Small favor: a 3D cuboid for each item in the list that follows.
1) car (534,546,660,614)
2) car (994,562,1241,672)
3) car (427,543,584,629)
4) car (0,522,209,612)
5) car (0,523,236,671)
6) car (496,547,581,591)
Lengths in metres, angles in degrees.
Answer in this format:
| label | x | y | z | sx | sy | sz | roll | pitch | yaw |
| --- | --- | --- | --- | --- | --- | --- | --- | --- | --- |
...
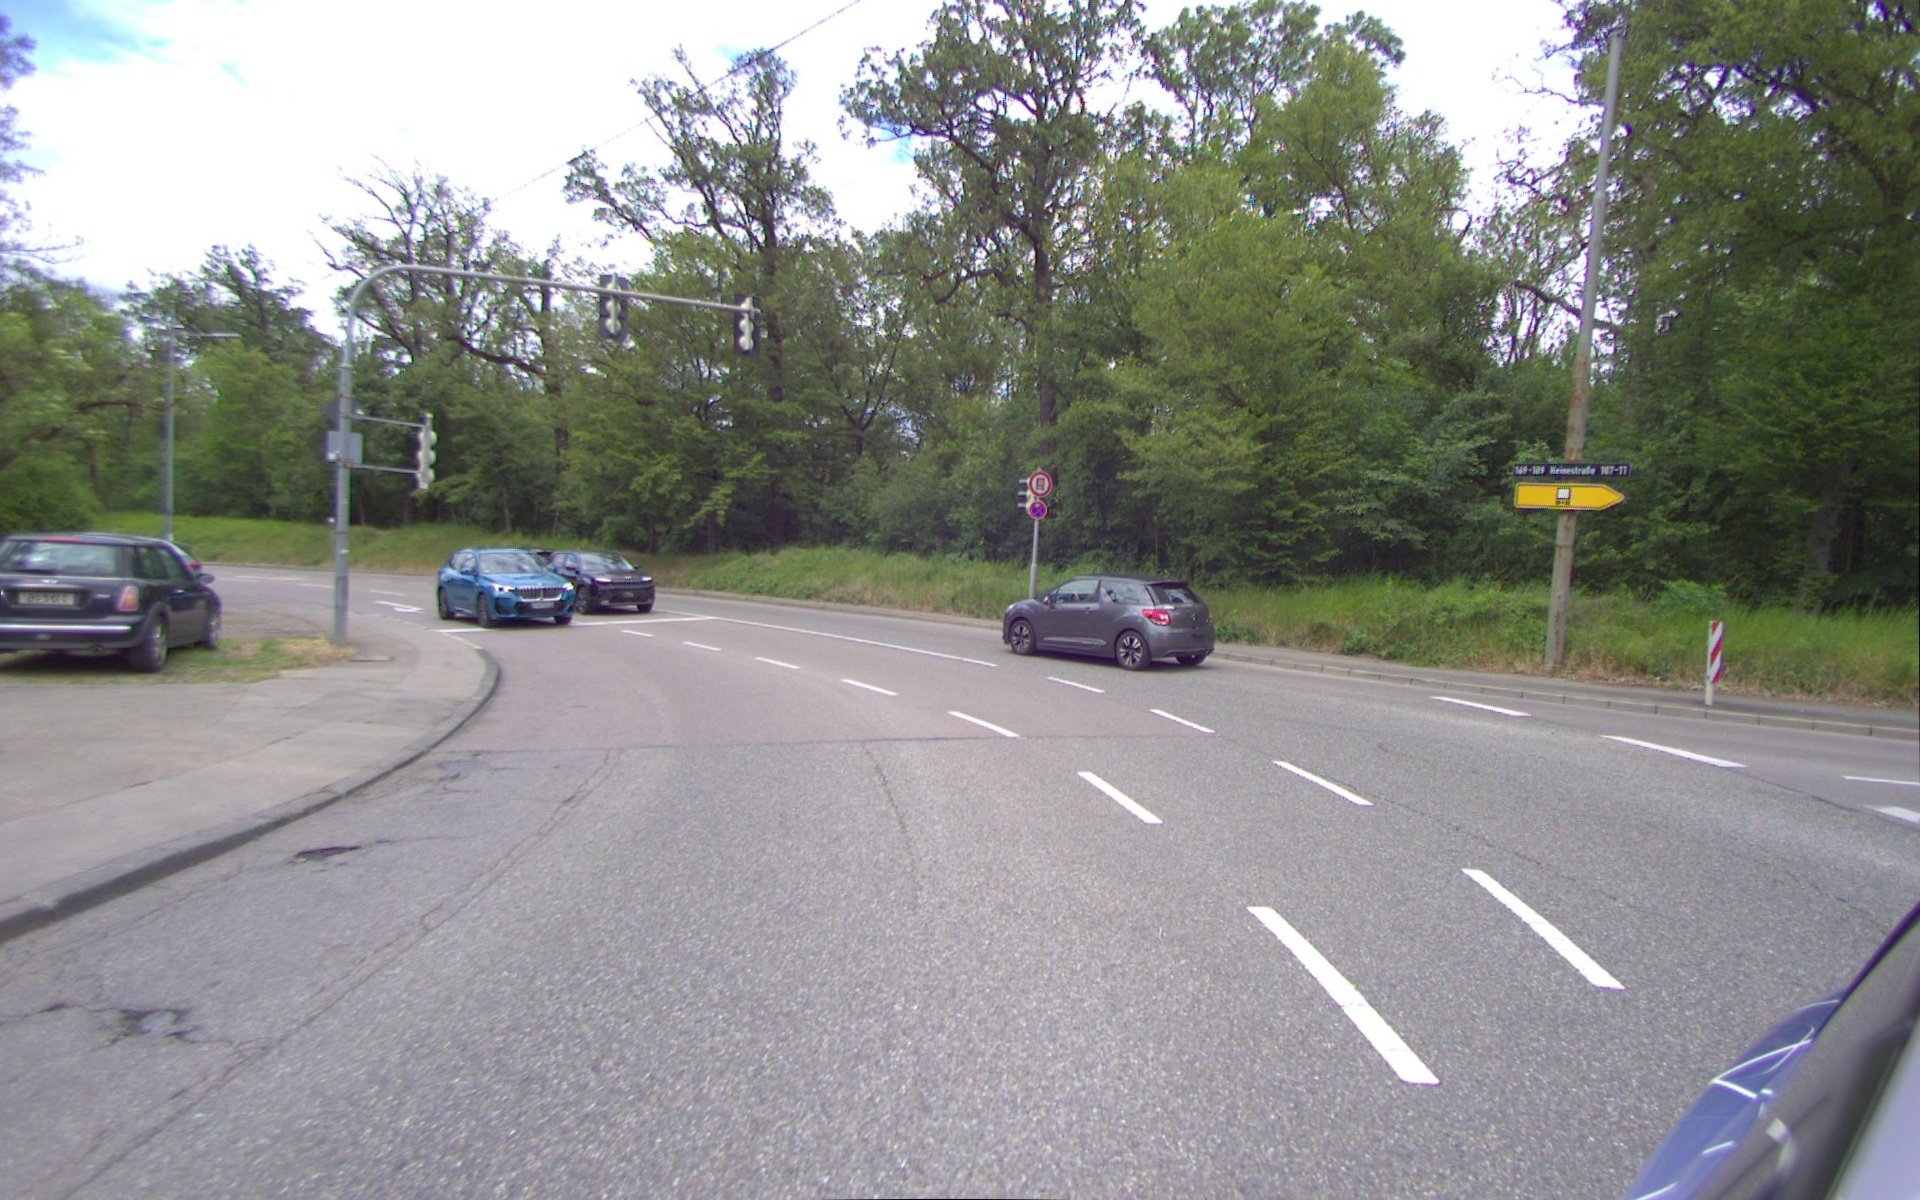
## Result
| label | x | y | z | sx | sy | sz | roll | pitch | yaw |
| --- | --- | --- | --- | --- | --- | --- | --- | --- | --- |
| car | -9.330 | -0.577 | 25.850 | 1.708 | 1.525 | 3.995 | -2 | 5 | -41 |
| car | 2.533 | 0.184 | 16.944 | 1.792 | 1.528 | 3.803 | -1 | 4 | -41 |
| car | -9.944 | -0.394 | 22.018 | 1.885 | 1.595 | 3.992 | -3 | 6 | -44 |
| car | -16.603 | -0.597 | 18.798 | 1.647 | 1.544 | 3.960 | 0 | 1 | 29 |
| car | -9.698 | -0.104 | 11.575 | 1.622 | 1.408 | 3.613 | 3 | 2 | -25 |
| car | -15.317 | -1.145 | 36.665 | 1.676 | 1.463 | 3.995 | -1 | 3 | -41 |
